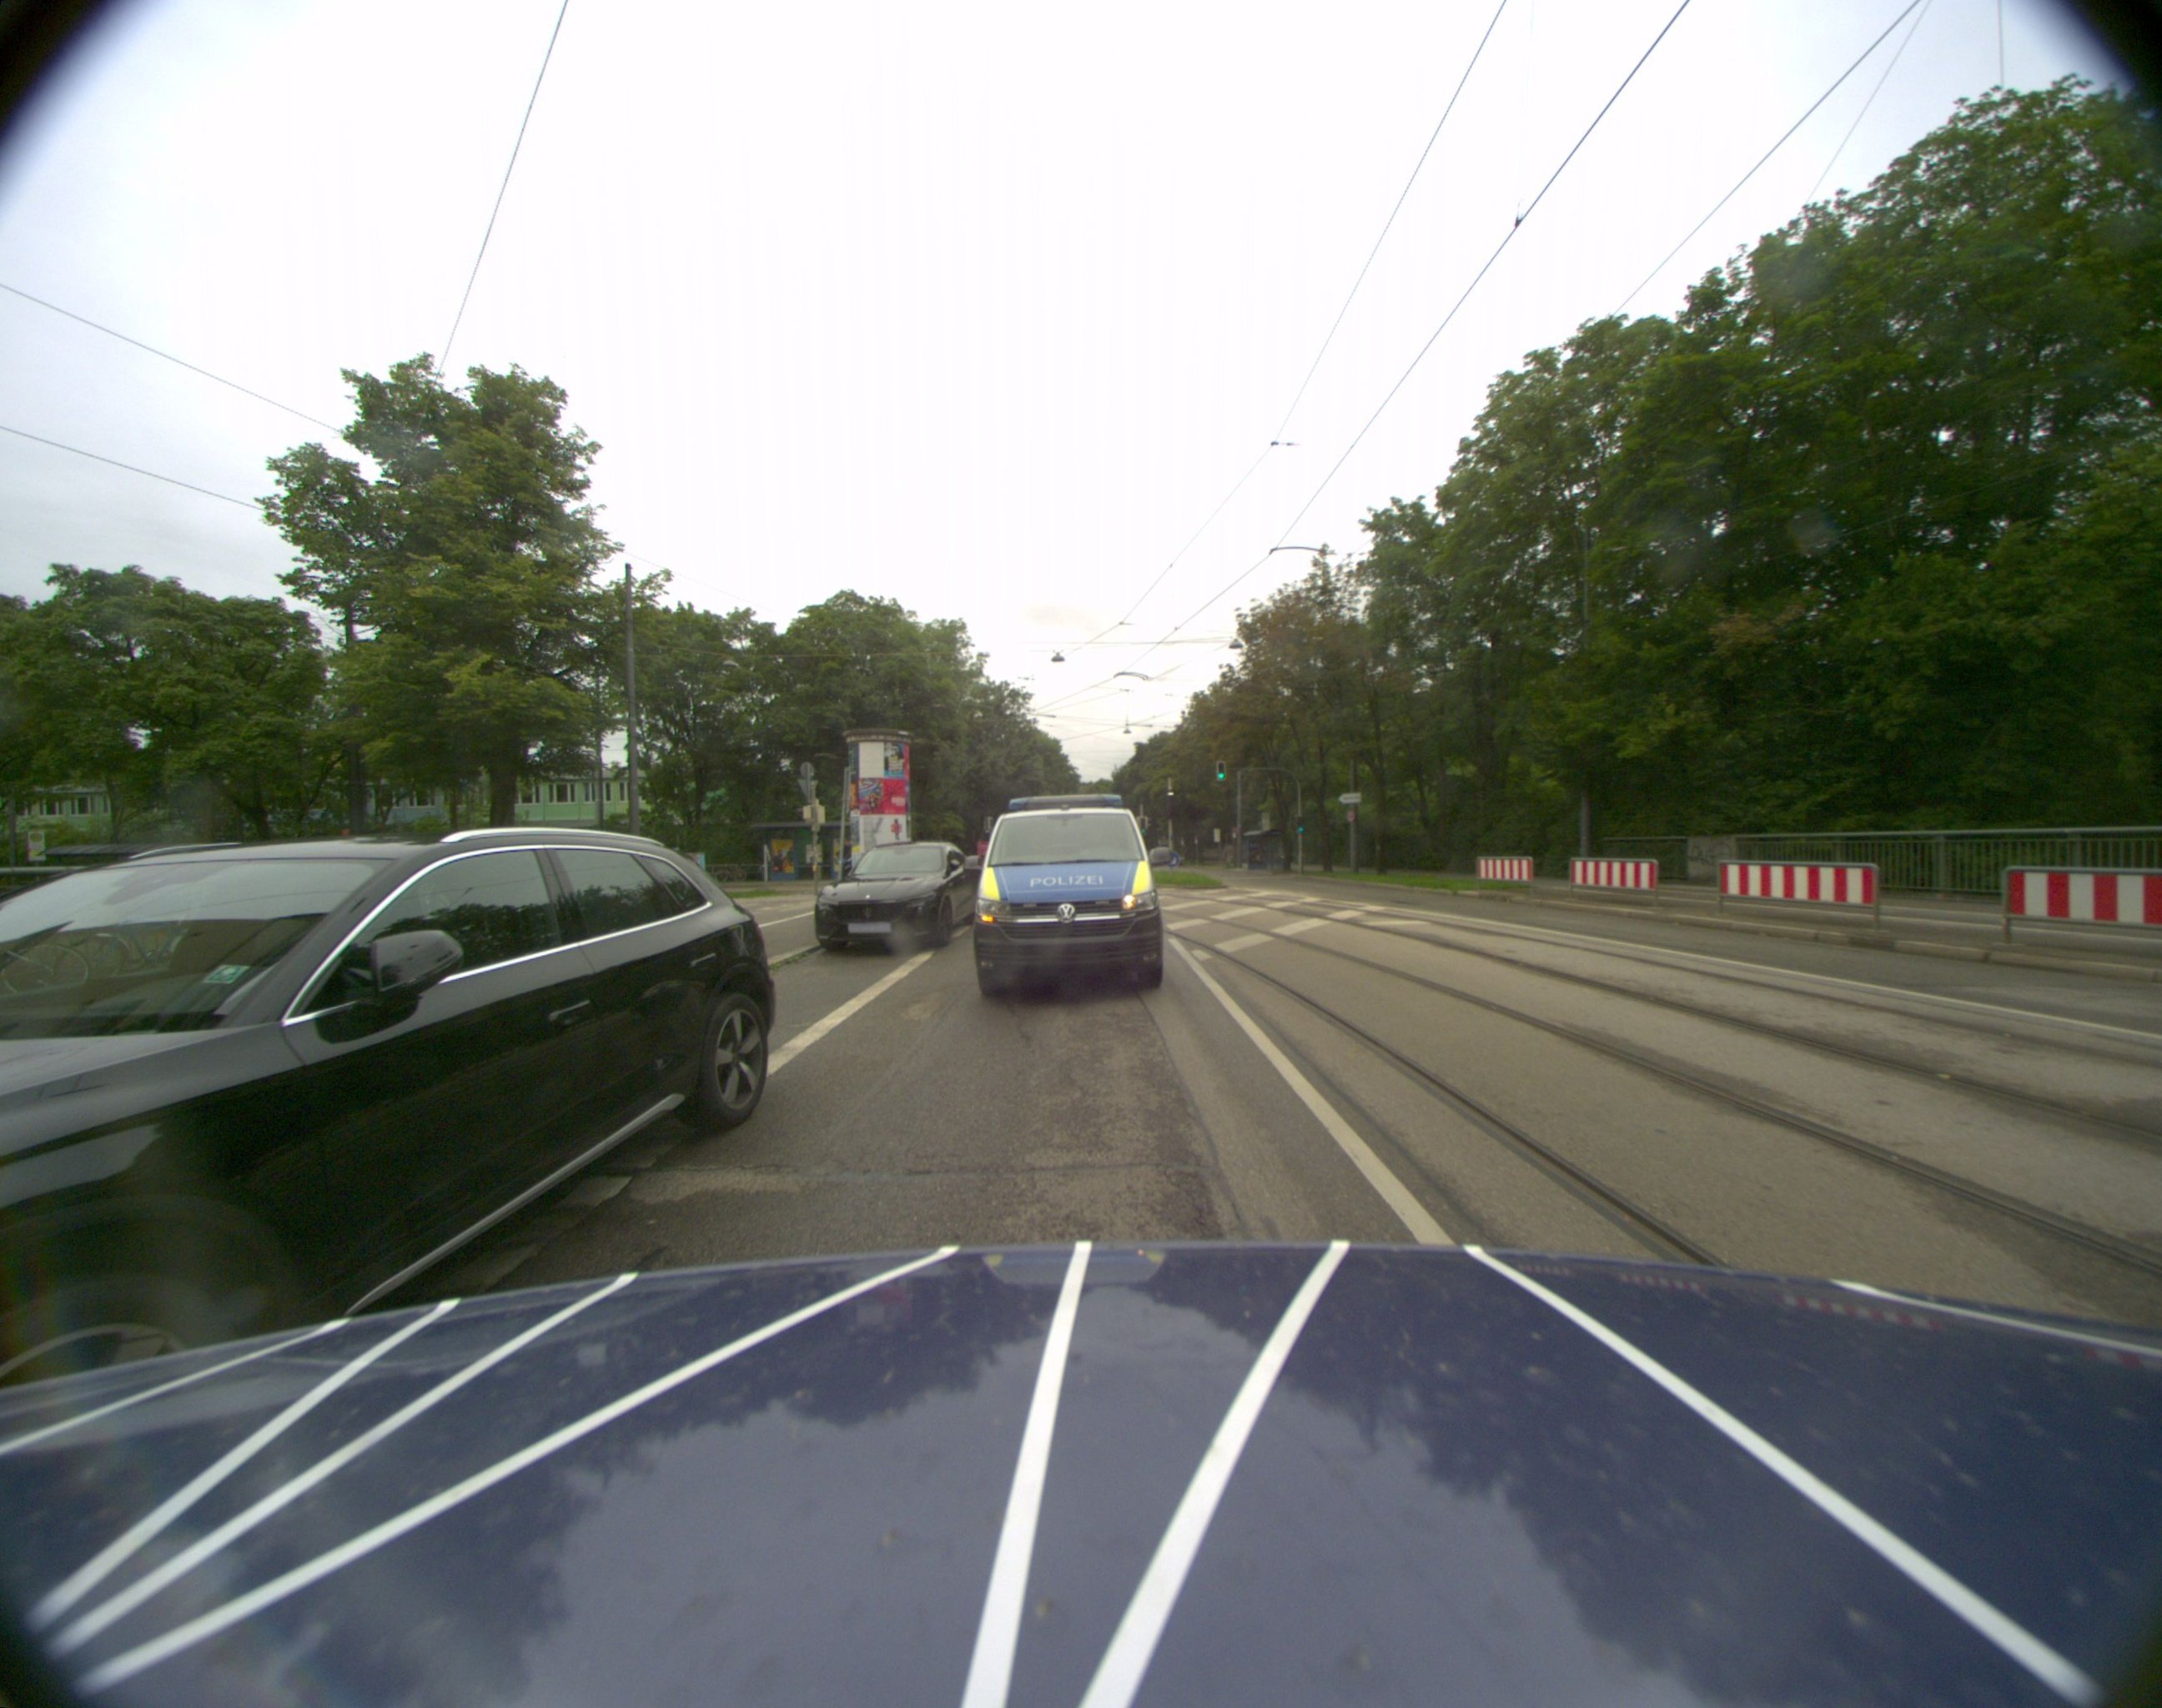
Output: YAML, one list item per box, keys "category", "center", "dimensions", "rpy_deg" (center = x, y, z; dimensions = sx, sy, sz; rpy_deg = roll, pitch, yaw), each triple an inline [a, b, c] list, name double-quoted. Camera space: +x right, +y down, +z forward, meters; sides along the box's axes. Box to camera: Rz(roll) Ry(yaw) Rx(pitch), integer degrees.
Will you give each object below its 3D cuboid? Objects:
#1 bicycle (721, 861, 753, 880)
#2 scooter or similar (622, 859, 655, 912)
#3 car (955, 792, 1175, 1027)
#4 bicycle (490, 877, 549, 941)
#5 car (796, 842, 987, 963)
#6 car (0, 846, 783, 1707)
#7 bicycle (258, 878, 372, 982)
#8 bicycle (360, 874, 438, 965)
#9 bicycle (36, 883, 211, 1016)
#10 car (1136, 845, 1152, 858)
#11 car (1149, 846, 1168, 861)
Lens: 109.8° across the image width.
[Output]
- category: "bicycle"
  center: [-18.196, 0.875, 40.161]
  dimensions: [1.483, 0.946, 0.373]
  rpy_deg: [-2, 2, 3]
- category: "scooter or similar"
  center: [-10.522, 0.736, 18.086]
  dimensions: [0.225, 1.205, 1.020]
  rpy_deg: [-3, 2, -8]
- category: "car"
  center: [-0.169, 0.433, 9.557]
  dimensions: [1.903, 2.041, 5.707]
  rpy_deg: [-1, 1, -1]
- category: "bicycle"
  center: [-10.636, 1.017, 14.435]
  dimensions: [0.265, 1.076, 1.540]
  rpy_deg: [-3, 2, -14]
- category: "car"
  center: [-2.935, 0.652, 12.943]
  dimensions: [1.905, 1.600, 4.665]
  rpy_deg: [-3, 1, 2]
- category: "car"
  center: [-2.873, 0.864, 2.568]
  dimensions: [1.778, 1.649, 4.487]
  rpy_deg: [-2, 1, 2]
- category: "bicycle"
  center: [-10.574, 1.006, 10.543]
  dimensions: [0.282, 1.274, 1.409]
  rpy_deg: [-3, 2, -10]
- category: "bicycle"
  center: [-10.498, 0.972, 11.740]
  dimensions: [0.283, 1.274, 1.408]
  rpy_deg: [-4, 2, -18]
- category: "bicycle"
  center: [-10.605, 1.008, 8.484]
  dimensions: [0.282, 1.274, 1.409]
  rpy_deg: [-3, 2, -10]
- category: "car"
  center: [9.076, -0.370, 110.262]
  dimensions: [1.888, 1.716, 3.999]
  rpy_deg: [-3, 1, -1]
- category: "car"
  center: [9.752, -0.026, 95.603]
  dimensions: [1.888, 1.716, 3.999]
  rpy_deg: [-3, 1, -1]
